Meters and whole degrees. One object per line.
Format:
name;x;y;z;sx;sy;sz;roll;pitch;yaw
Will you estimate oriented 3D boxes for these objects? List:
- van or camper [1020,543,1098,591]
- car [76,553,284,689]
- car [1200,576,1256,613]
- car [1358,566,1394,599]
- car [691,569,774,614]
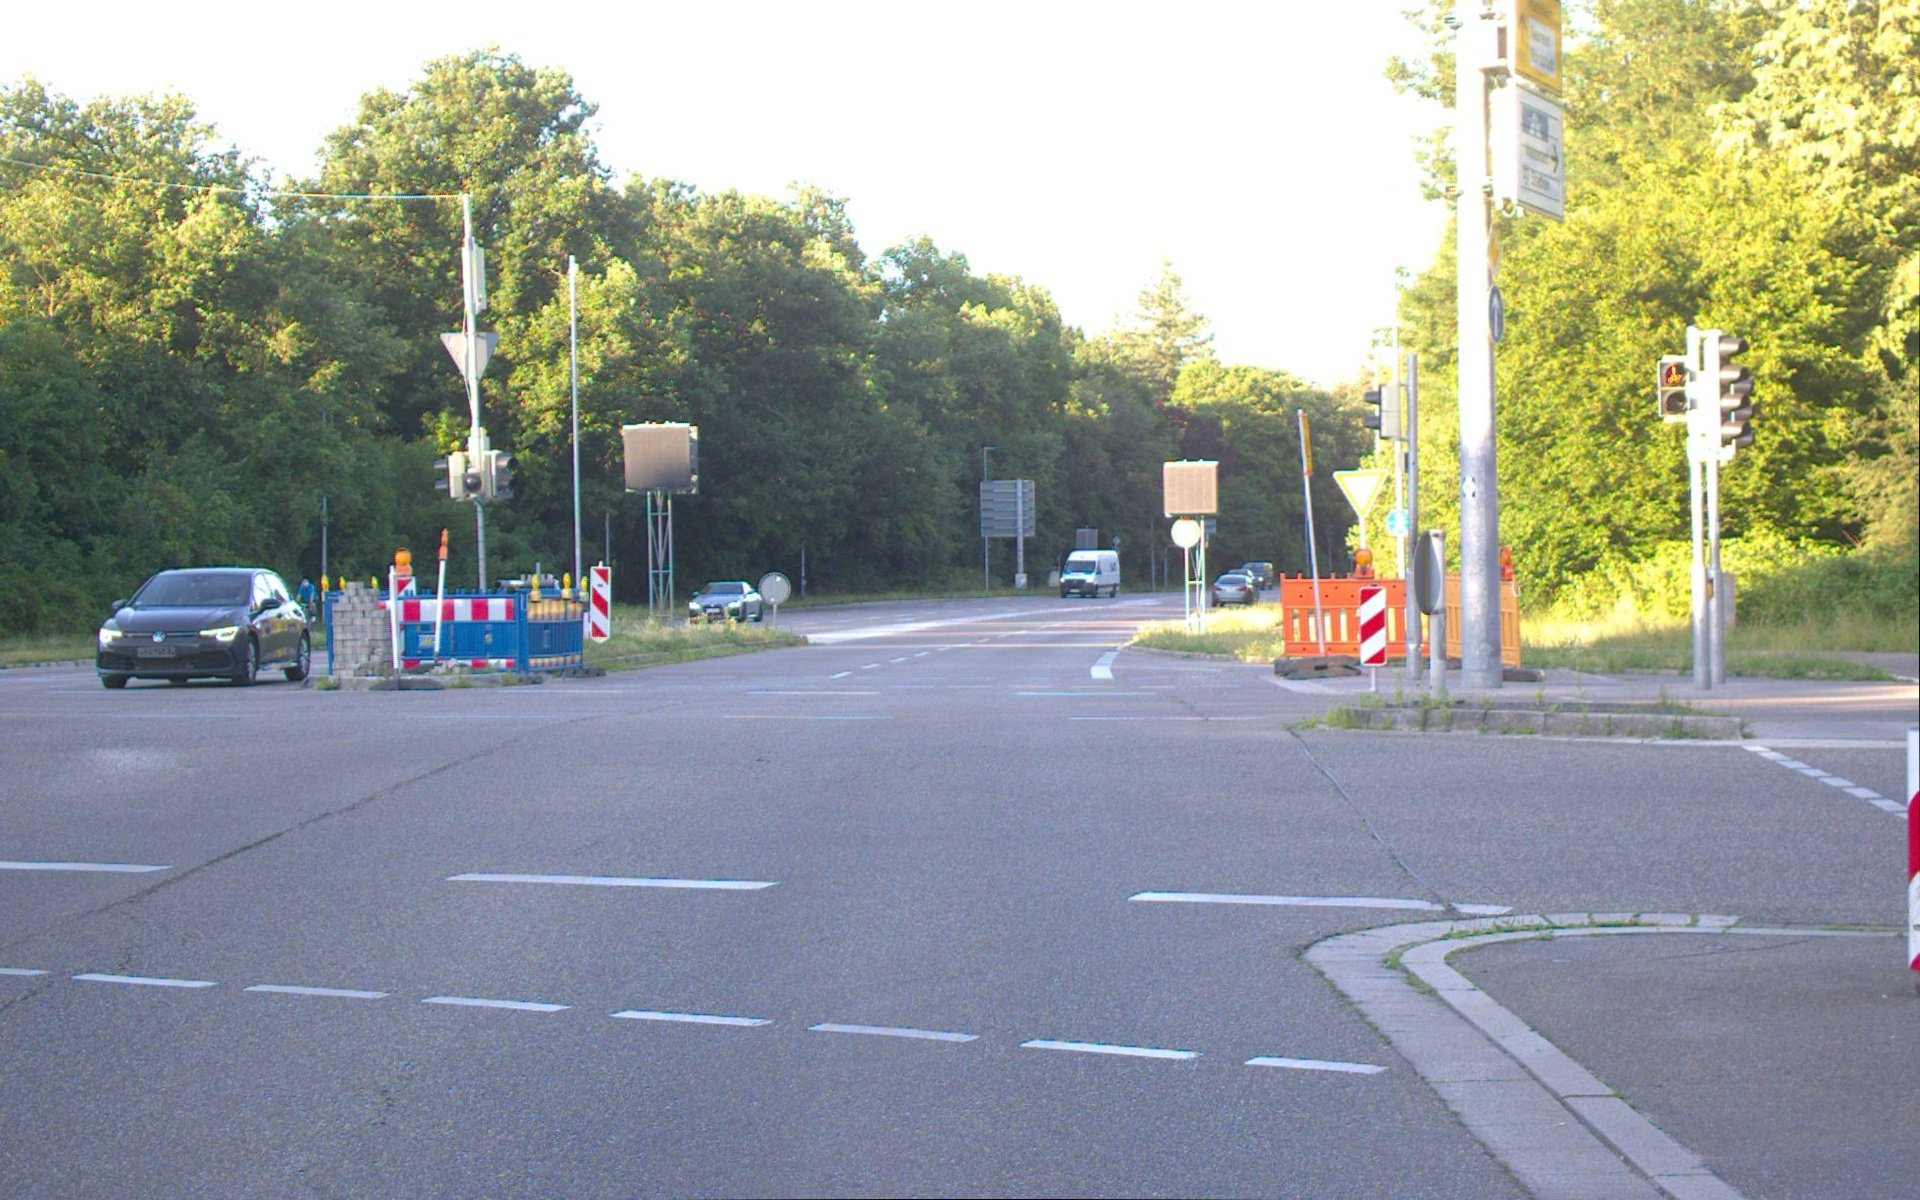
van or camper;5.631;-1.883;194.520;2.887;2.643;7.117;0;1;15
car;-9.373;0.209;41.635;1.993;1.524;4.679;-1;1;-7
car;12.352;-0.275;158.330;1.995;1.612;3.998;0;1;13
car;26.257;-1.121;216.845;1.789;2.007;3.998;-1;1;14
car;-7.589;-0.287;114.981;1.994;1.415;3.999;0;1;8
